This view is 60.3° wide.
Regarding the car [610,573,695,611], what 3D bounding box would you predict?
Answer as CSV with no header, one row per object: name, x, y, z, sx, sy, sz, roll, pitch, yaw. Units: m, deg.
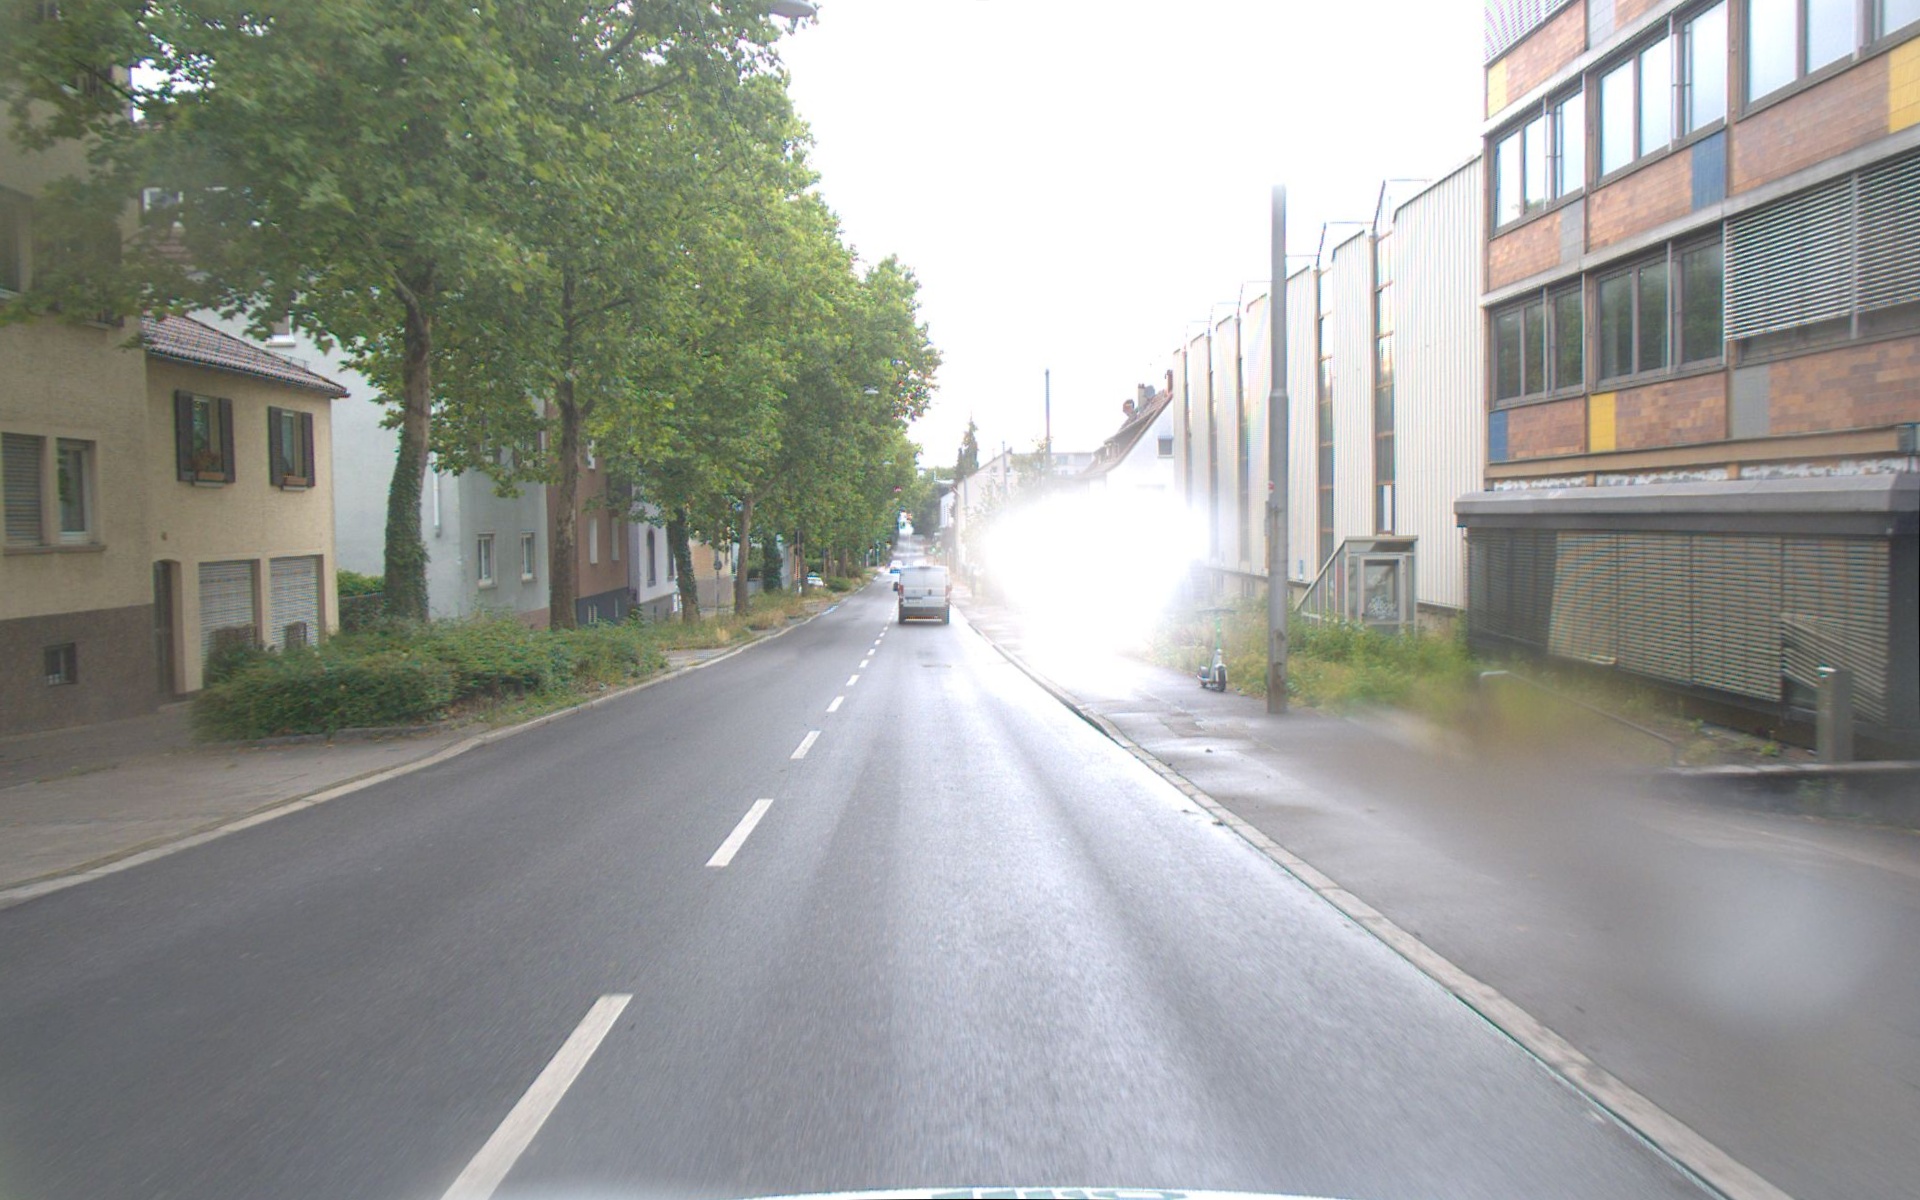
car,-16.264,-0.426,87.574,4.112,1.925,1.999,-1,1,-3

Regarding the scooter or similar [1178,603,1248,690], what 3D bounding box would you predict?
scooter or similar,3.647,0.652,23.950,0.593,1.182,1.698,-1,0,-6

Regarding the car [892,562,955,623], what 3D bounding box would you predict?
car,-1.490,-0.339,66.038,2.300,2.197,4.776,-2,3,-3

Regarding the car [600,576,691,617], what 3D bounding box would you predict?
car,-15.554,-0.190,81.969,4.112,1.925,1.999,-1,1,-3

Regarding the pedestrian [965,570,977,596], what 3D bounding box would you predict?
pedestrian,0.745,-1.131,108.980,0.799,1.728,0.729,0,0,0

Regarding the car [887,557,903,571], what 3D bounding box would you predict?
car,-8.321,-4.622,212.611,1.954,1.738,4.256,0,1,-4
